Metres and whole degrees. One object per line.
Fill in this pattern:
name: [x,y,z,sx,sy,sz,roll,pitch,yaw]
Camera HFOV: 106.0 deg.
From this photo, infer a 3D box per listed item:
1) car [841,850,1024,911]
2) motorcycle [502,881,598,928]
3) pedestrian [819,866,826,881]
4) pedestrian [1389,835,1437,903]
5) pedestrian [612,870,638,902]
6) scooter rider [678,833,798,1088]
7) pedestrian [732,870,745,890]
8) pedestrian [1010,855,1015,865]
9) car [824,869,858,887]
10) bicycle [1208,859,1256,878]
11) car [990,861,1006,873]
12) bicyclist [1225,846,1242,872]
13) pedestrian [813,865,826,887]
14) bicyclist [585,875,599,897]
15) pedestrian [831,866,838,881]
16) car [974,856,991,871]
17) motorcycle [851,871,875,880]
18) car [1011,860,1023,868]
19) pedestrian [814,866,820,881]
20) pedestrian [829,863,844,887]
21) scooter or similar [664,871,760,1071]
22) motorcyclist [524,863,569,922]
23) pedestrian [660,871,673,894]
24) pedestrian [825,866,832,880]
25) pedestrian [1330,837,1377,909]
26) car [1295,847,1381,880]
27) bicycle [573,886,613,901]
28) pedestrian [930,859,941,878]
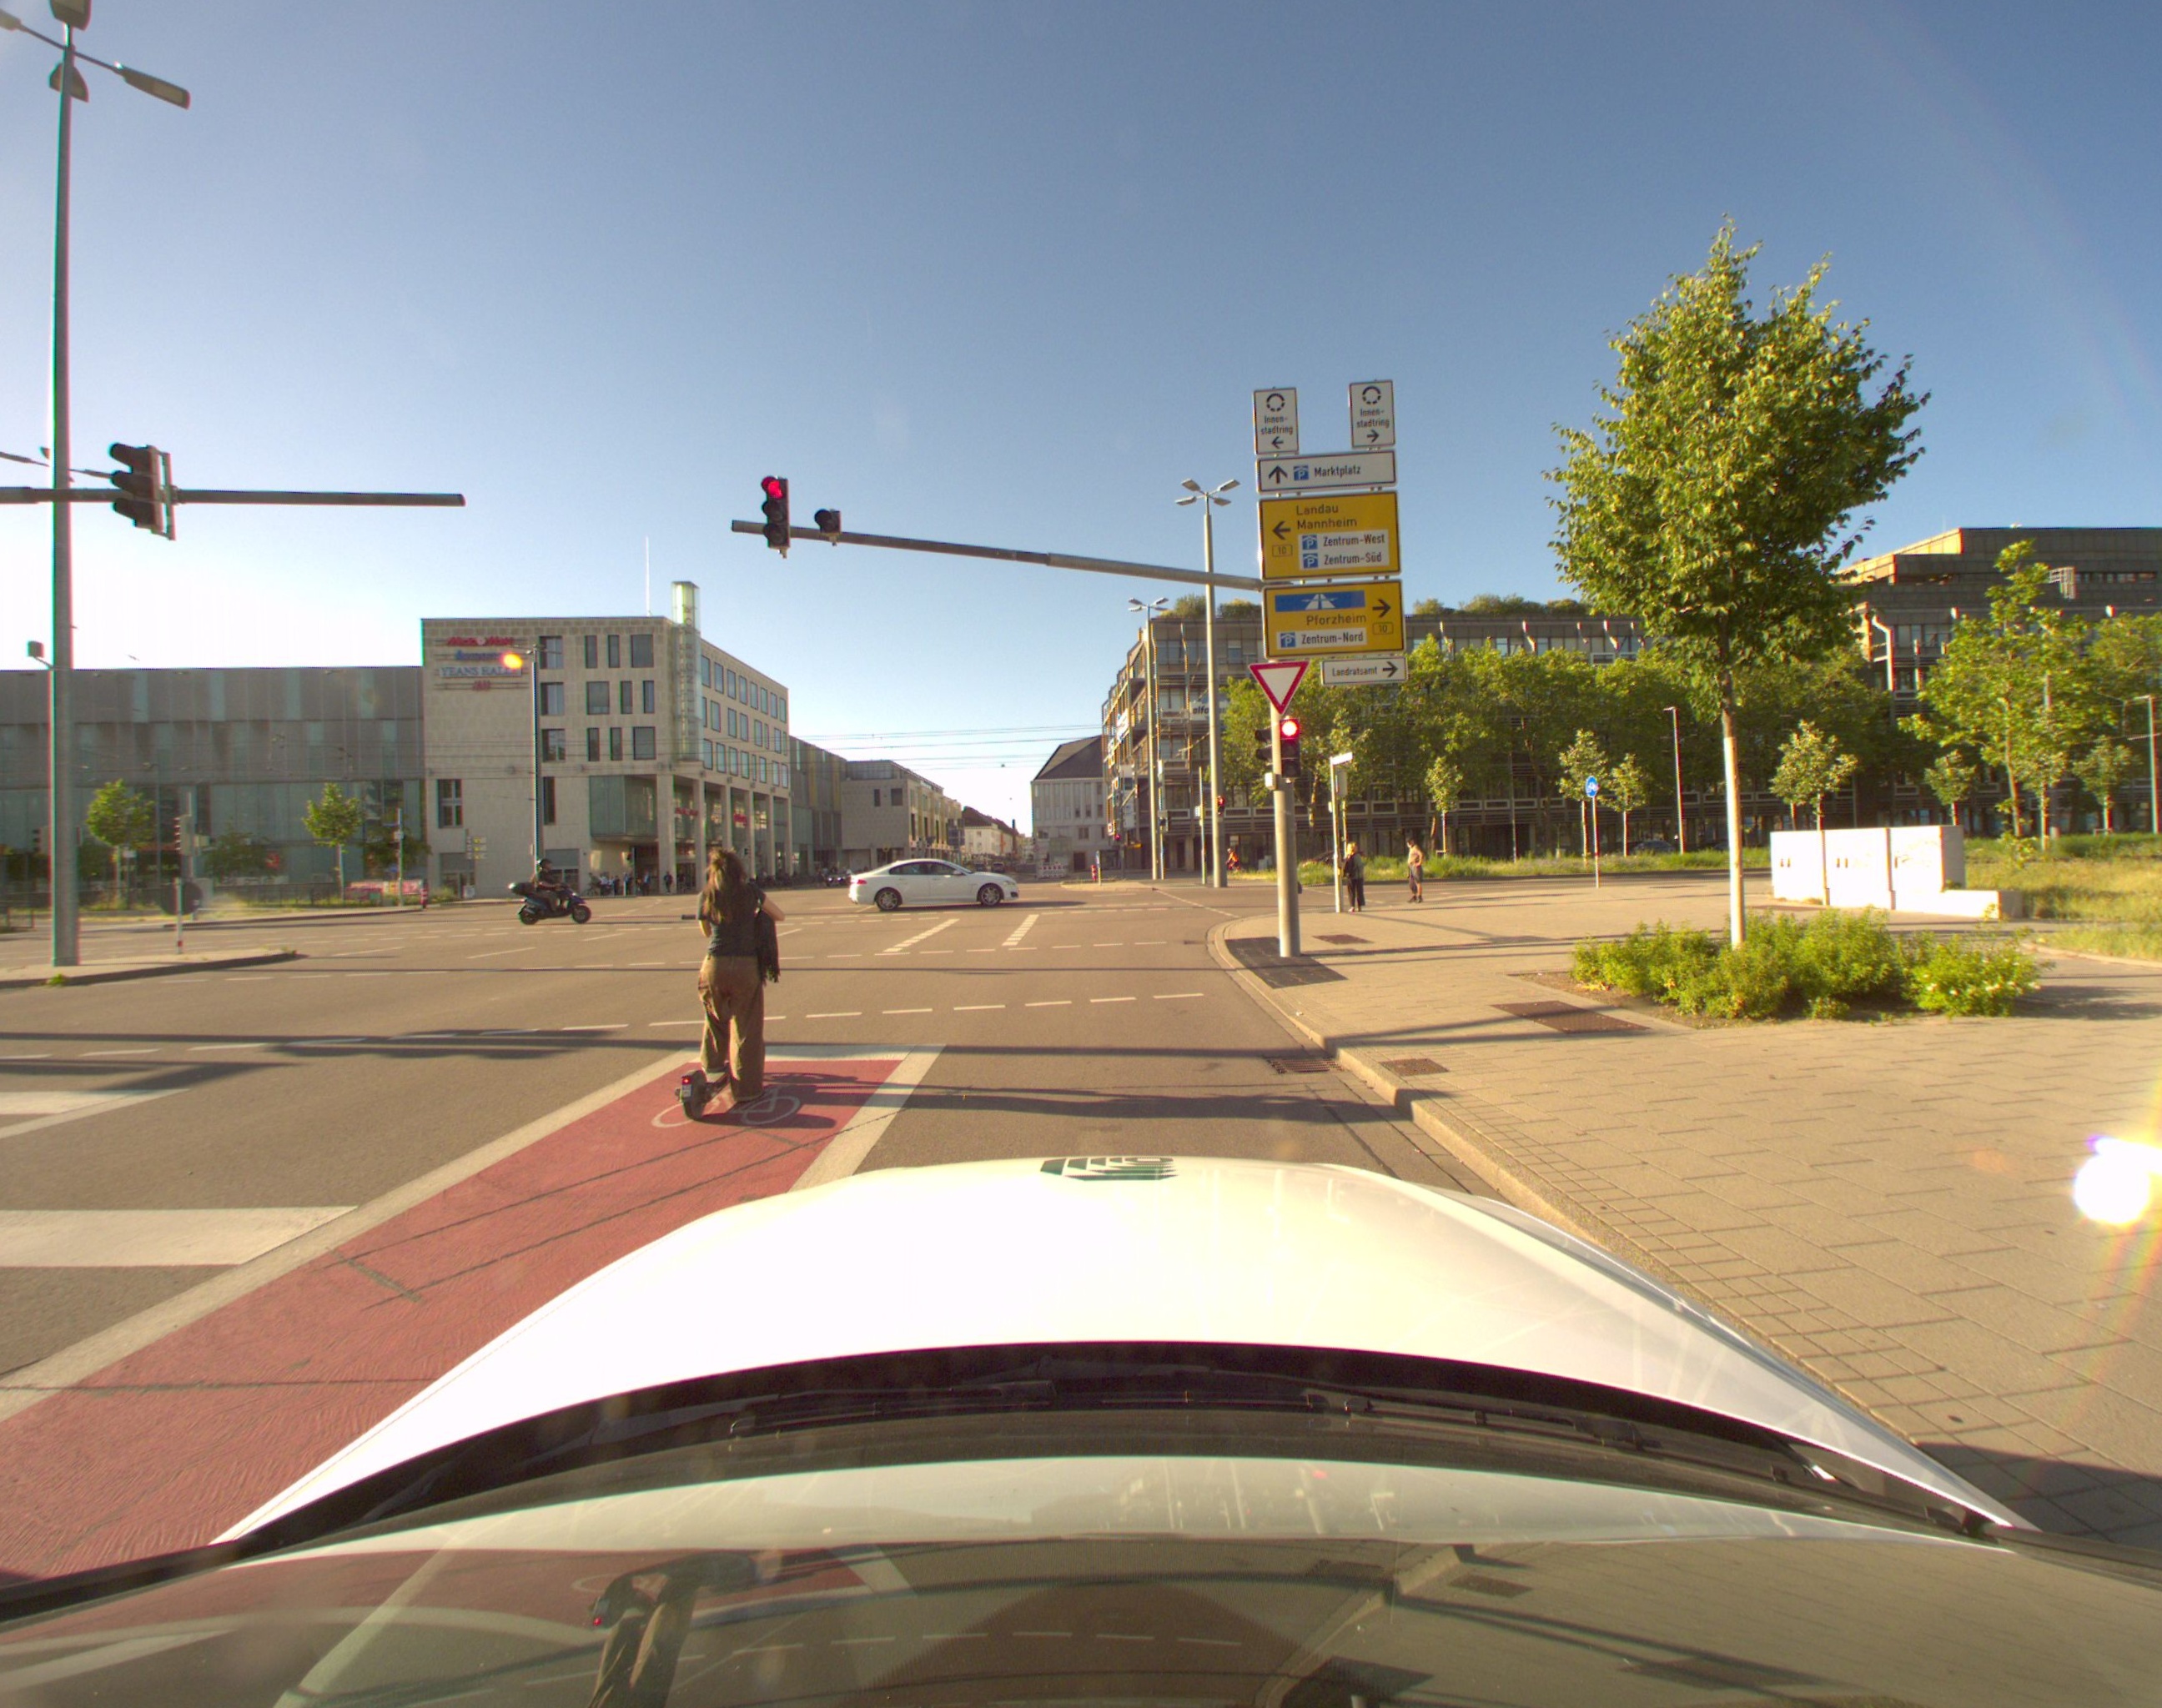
car: [-4.354,0.745,24.184,5.085,1.564,1.993,-2,0,-11]
motorcycle: [-13.733,1.291,21.094,1.952,1.100,0.648,-2,0,-6]
pedestrian: [-30.949,2.365,97.595,0.465,1.729,0.632,-1,-1,35]
pedestrian: [8.577,0.375,21.046,0.869,1.706,0.768,-2,0,0]
pedestrian: [-25.124,1.761,44.908,0.821,1.675,1.004,-2,0,-2]
scooter rider: [-2.170,0.643,5.197,0.552,1.530,0.448,-2,0,-7]
pedestrian: [-29.350,2.251,69.840,0.771,1.638,0.628,-2,0,14]
pedestrian: [-13.912,1.187,165.261,0.907,1.965,0.823,0,-1,1]
car: [-20.782,2.079,70.560,1.670,1.357,4.021,-2,0,1]
bicycle: [8.730,0.815,47.056,2.561,0.975,1.047,-2,0,-1]
car: [-11.023,1.747,108.527,1.652,1.458,3.543,-2,0,2]
bicyclist: [8.821,0.304,47.072,0.820,1.474,0.652,-2,0,-2]
pedestrian: [-20.519,1.708,63.869,0.697,1.688,0.620,-2,0,2]
bicyclist: [-32.926,2.136,54.813,0.587,1.448,0.625,-2,0,-12]
pedestrian: [-29.853,2.332,98.530,0.465,1.729,0.699,-1,-1,40]
car: [-11.705,1.110,96.930,1.816,1.684,3.994,-2,0,-4]
motorcycle: [-26.449,2.582,98.813,2.600,0.993,1.113,0,-1,-8]
car: [-11.472,1.781,146.497,1.652,1.458,3.543,-2,0,2]
pedestrian: [-32.097,2.385,99.039,0.465,1.729,0.524,-1,-1,40]
pedestrian: [-19.468,1.649,64.950,0.935,1.864,0.541,-2,0,18]
scooter or similar: [-2.254,0.668,5.031,0.306,1.107,0.835,-2,0,-9]
motorcyclist: [-13.843,0.980,21.109,0.748,1.479,0.598,-2,0,-6]
pedestrian: [-30.766,2.103,60.420,0.590,1.646,0.629,-2,0,1]
pedestrian: [-31.117,2.388,100.301,0.465,1.729,0.632,-1,-1,30]
pedestrian: [6.310,0.433,18.906,0.763,1.614,0.874,-2,0,0]
car: [14.553,0.525,46.218,4.287,1.684,1.820,-2,0,-9]
bicycle: [-32.829,2.670,54.793,2.215,0.903,0.634,-2,0,-15]
pedestrian: [-14.486,1.451,81.294,0.896,1.782,0.809,-2,0,1]
